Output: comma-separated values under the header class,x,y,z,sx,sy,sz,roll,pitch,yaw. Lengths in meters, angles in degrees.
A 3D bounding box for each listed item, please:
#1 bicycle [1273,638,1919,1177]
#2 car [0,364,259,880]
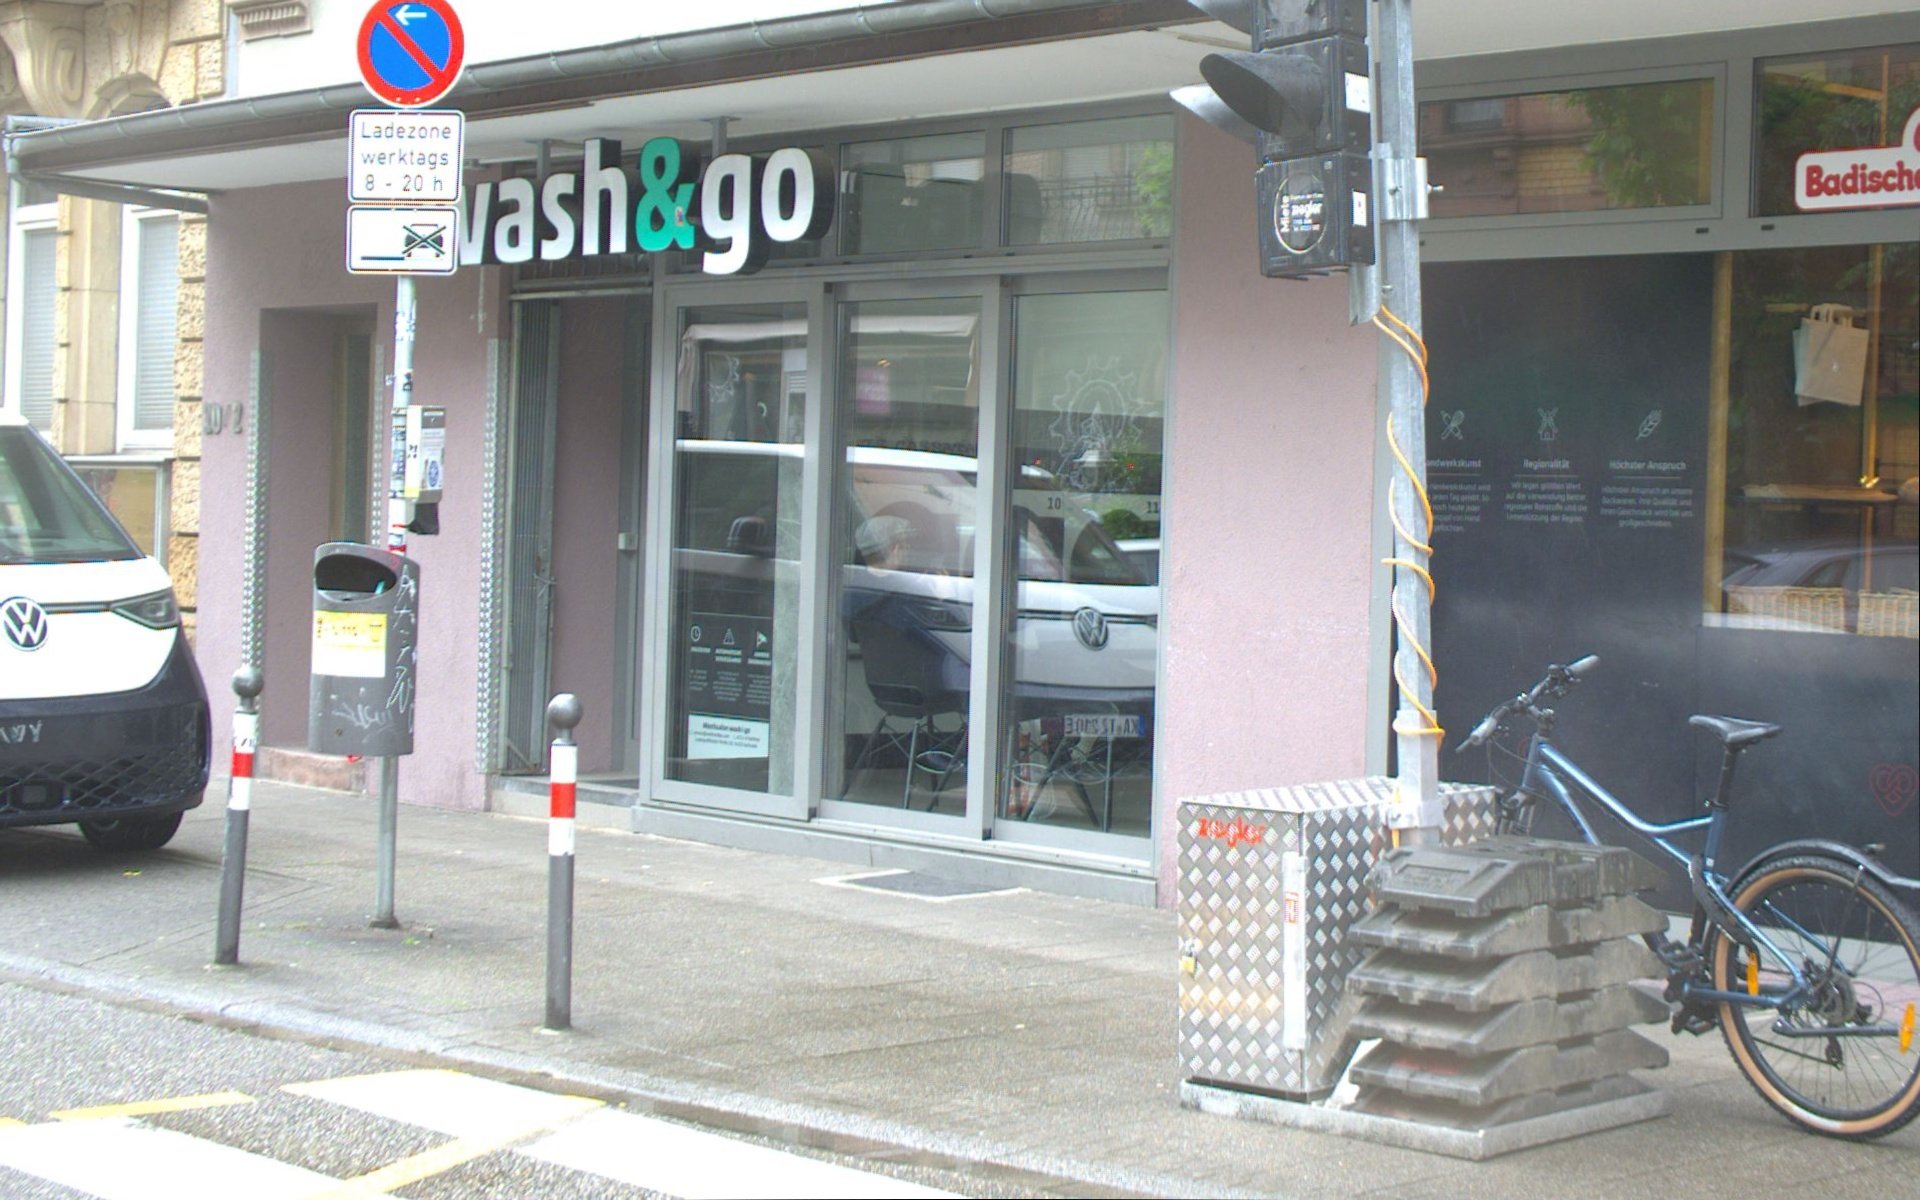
class,x,y,z,sx,sy,sz,roll,pitch,yaw
bicycle,1.748,0.706,8.645,0.624,1.124,1.937,0,2,-45
car,-5.314,-0.008,14.847,1.995,1.932,5.227,-2,3,-44
